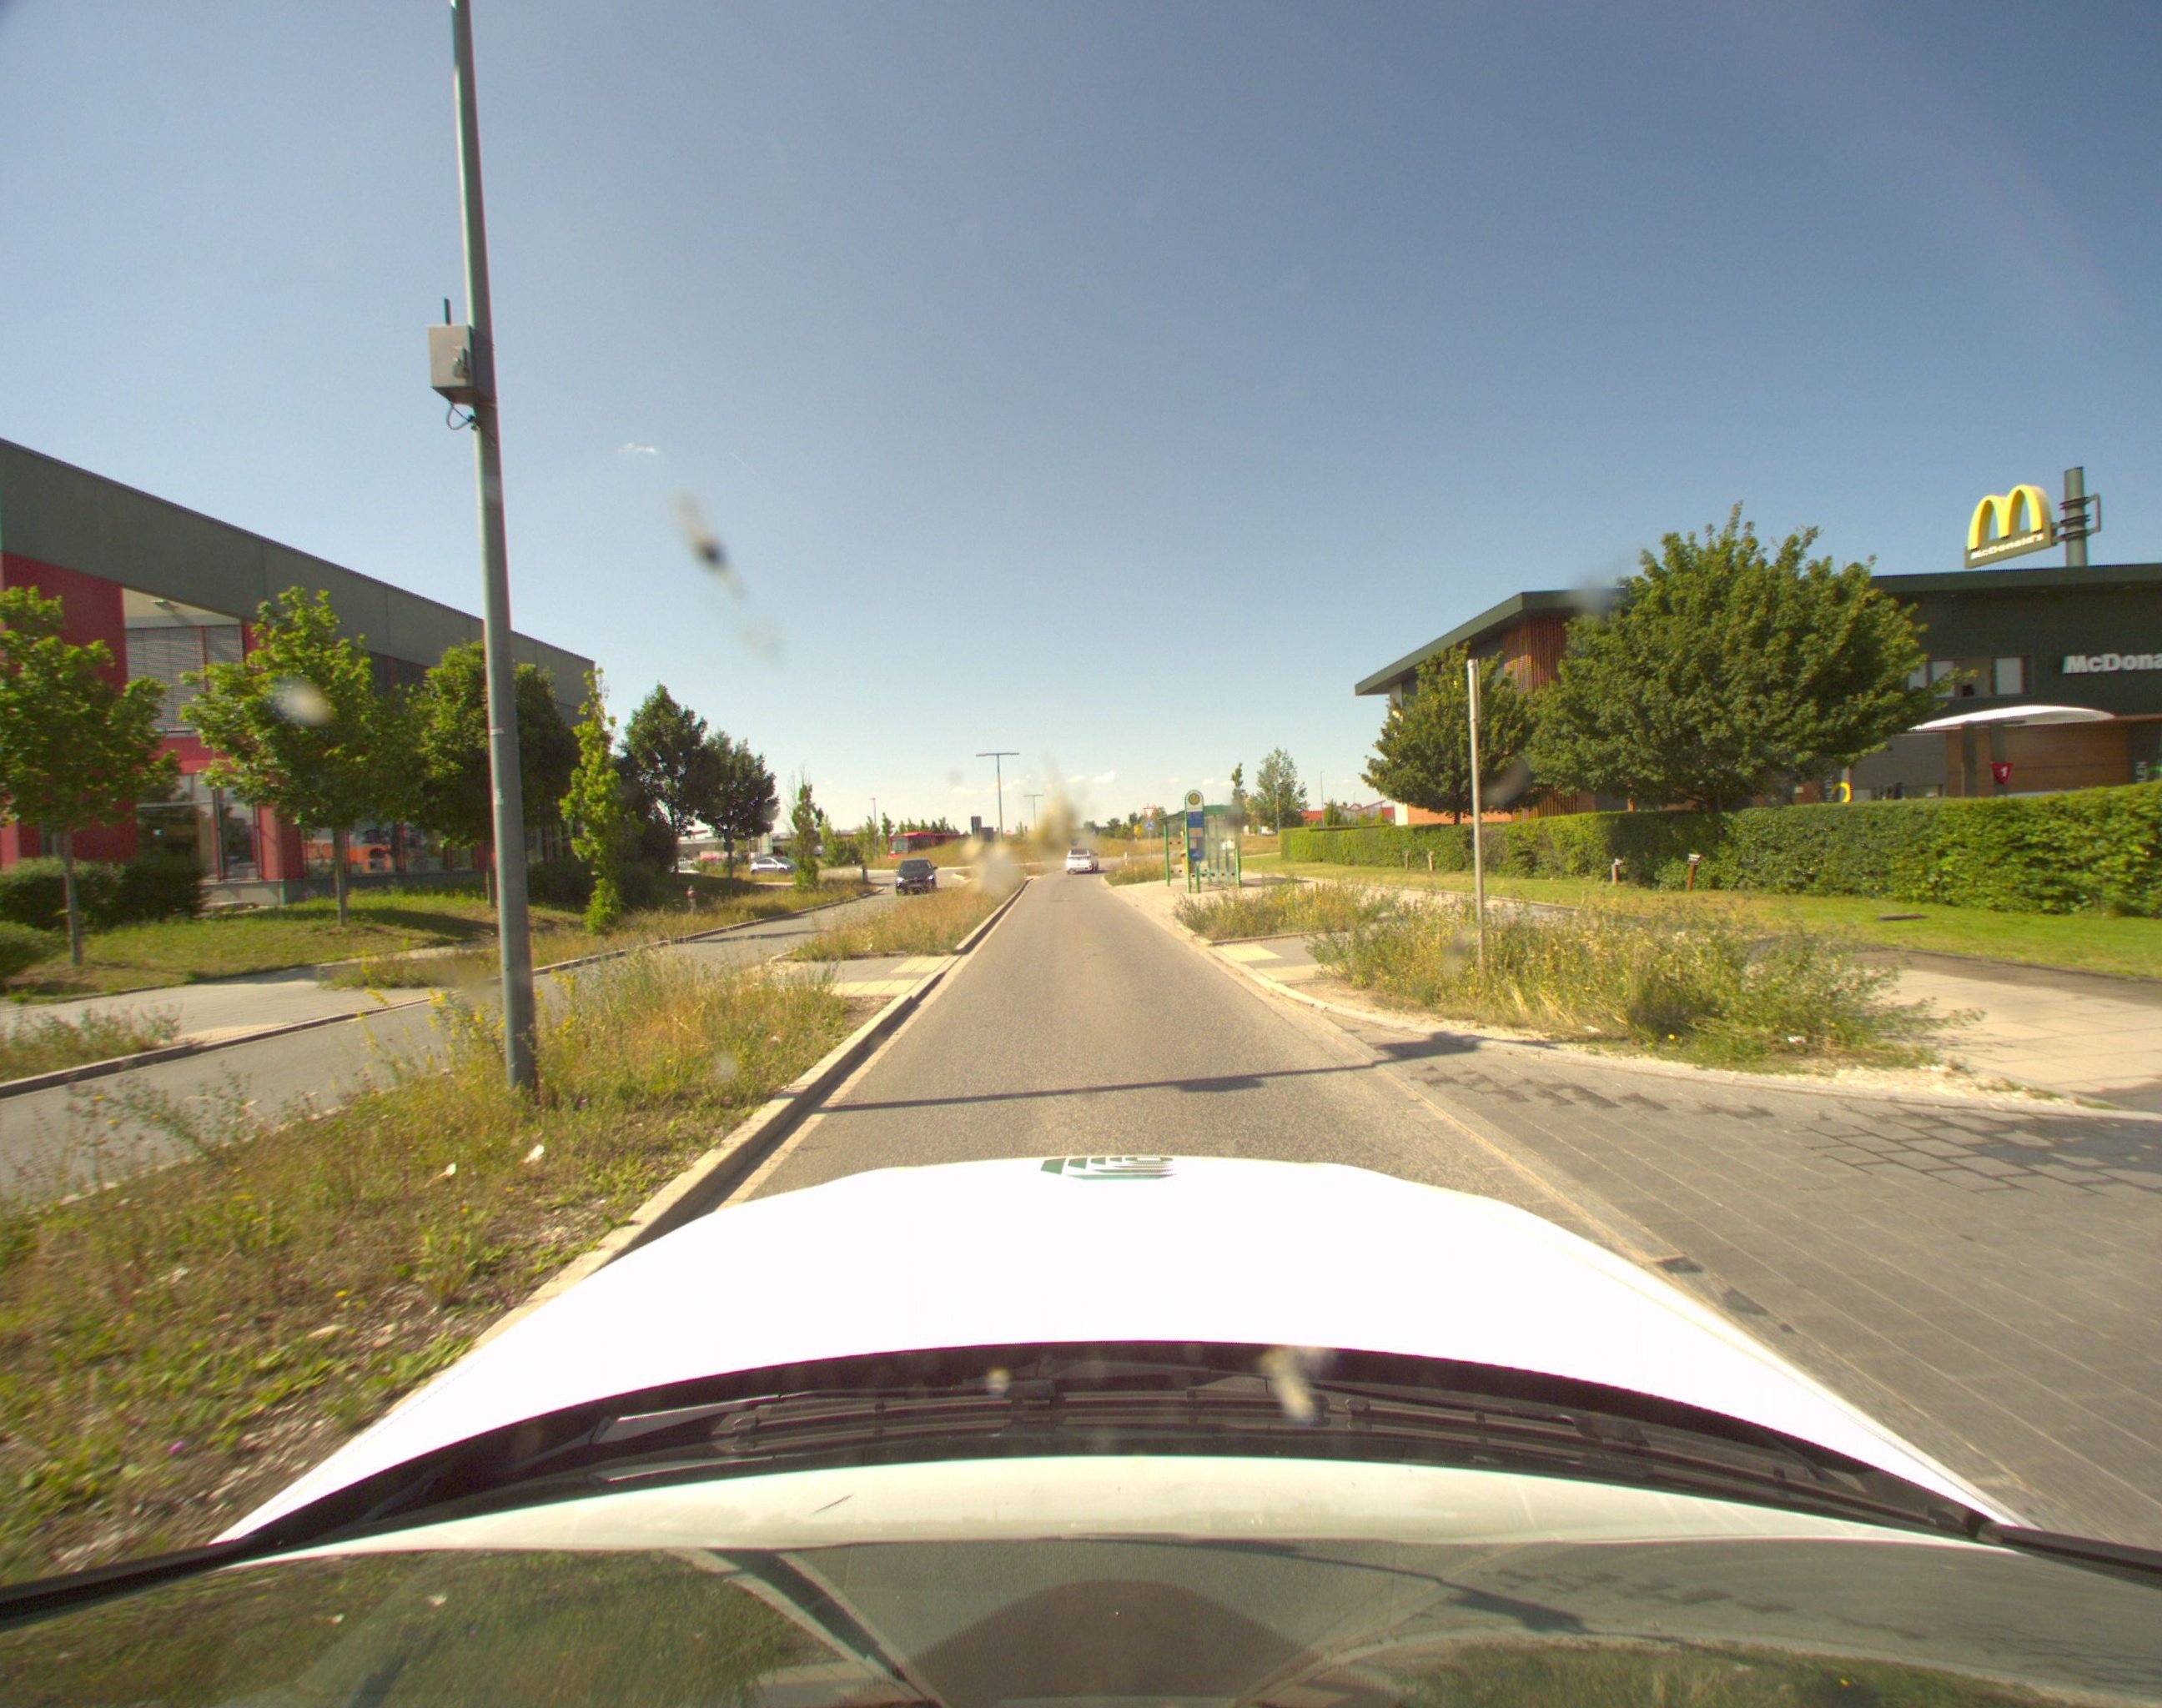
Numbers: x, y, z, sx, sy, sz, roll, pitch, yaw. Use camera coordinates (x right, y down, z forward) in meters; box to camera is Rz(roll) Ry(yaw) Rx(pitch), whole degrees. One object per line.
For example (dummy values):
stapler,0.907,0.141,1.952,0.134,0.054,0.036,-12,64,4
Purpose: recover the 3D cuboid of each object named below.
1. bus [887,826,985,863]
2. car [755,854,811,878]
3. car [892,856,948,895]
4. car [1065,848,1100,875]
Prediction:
bus,-15.150,-1.114,86.523,2.760,3.078,12.283,-3,2,31
car,-22.684,0.914,61.977,4.565,1.625,1.976,-1,3,41
car,-7.358,0.939,37.612,1.754,1.543,4.237,-5,0,-2
car,0.144,0.429,47.682,1.608,1.434,3.799,-2,0,6
